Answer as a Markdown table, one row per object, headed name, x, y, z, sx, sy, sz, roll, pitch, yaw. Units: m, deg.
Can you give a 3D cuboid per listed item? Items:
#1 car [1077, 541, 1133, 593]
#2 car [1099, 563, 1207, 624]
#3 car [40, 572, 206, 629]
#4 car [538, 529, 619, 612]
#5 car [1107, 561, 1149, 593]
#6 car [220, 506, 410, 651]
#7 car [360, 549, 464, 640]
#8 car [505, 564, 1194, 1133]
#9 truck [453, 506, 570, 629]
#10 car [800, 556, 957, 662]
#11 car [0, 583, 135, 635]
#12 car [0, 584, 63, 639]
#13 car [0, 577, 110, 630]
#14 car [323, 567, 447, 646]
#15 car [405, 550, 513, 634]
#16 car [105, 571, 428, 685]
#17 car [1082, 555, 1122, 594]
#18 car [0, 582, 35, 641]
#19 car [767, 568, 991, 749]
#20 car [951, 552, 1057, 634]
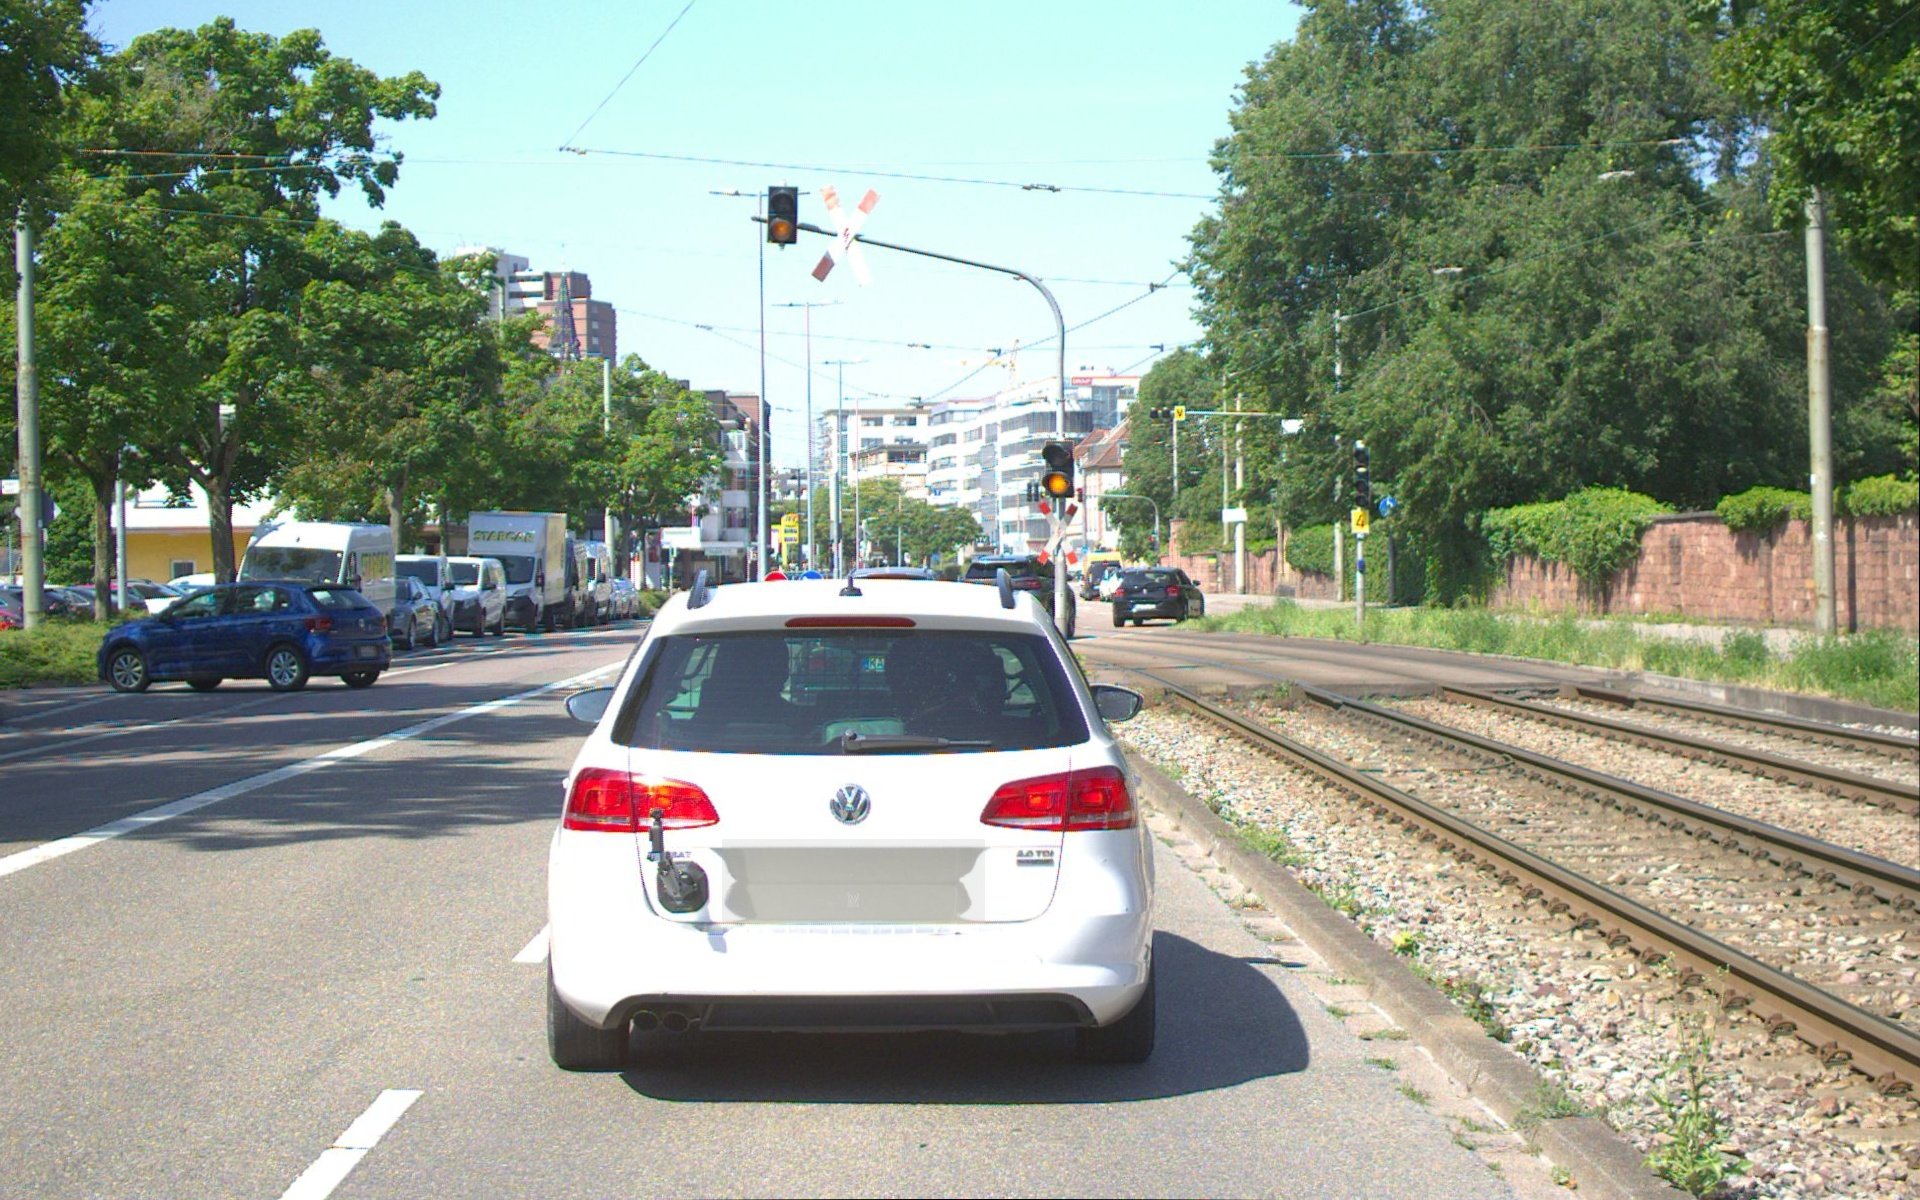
| name | x | y | z | sx | sy | sz | roll | pitch | yaw |
| --- | --- | --- | --- | --- | --- | --- | --- | --- | --- |
| car | 7.343 | -1.649 | 174.624 | 2.463 | 2.490 | 5.910 | 1 | 0 | -1 |
| car | 4.711 | -0.174 | 83.523 | 1.747 | 1.403 | 3.910 | 2 | 1 | 16 |
| car | -22.557 | 0.009 | 92.702 | 3.987 | 1.439 | 1.771 | -1 | 1 | 2 |
| car | -11.864 | -0.930 | 107.245 | 1.843 | 2.486 | 5.856 | -1 | 1 | 0 |
| car | 7.395 | -1.017 | 151.717 | 1.581 | 1.341 | 3.454 | 1 | 0 | -1 |
| car | -11.885 | -0.421 | 63.789 | 2.059 | 2.492 | 6.307 | 2 | 1 | 2 |
| car | -12.214 | -0.149 | 76.877 | 1.843 | 1.930 | 5.195 | -1 | 1 | -4 |
| car | -0.338 | 0.631 | 10.944 | 1.768 | 1.441 | 3.913 | 1 | 1 | -2 |
| truck | -11.909 | -0.879 | 91.732 | 2.356 | 3.112 | 6.892 | -1 | 1 | -1 |
| car | -1.122 | 0.093 | 49.278 | 1.861 | 1.412 | 4.324 | 1 | 1 | 3 |
| car | -22.625 | 0.226 | 85.019 | 3.987 | 1.221 | 1.771 | -1 | 1 | 2 |
| car | -22.596 | 0.281 | 77.990 | 3.987 | 1.221 | 1.771 | -1 | 1 | 2 |
| car | -22.722 | 0.100 | 82.898 | 3.987 | 1.221 | 1.771 | -1 | 1 | 2 |
| car | -11.620 | 0.114 | 69.684 | 1.843 | 1.511 | 4.197 | -1 | 1 | -1 |
| car | -12.051 | -0.221 | 83.001 | 1.843 | 1.954 | 5.134 | -1 | 1 | 0 |
| car | -9.027 | 0.344 | 44.737 | 3.906 | 1.403 | 1.749 | 0 | 1 | 29 |
| car | 6.851 | -1.231 | 166.067 | 1.691 | 1.806 | 3.454 | 1 | 0 | -1 |
| car | -22.573 | 0.271 | 75.533 | 3.987 | 1.260 | 1.771 | -1 | 1 | 2 |
| car | -0.682 | 0.443 | 29.152 | 1.746 | 1.383 | 3.913 | 1 | 1 | -1 |
| car | 0.884 | -0.153 | 66.963 | 1.861 | 1.508 | 3.913 | 1 | 1 | 3 |
